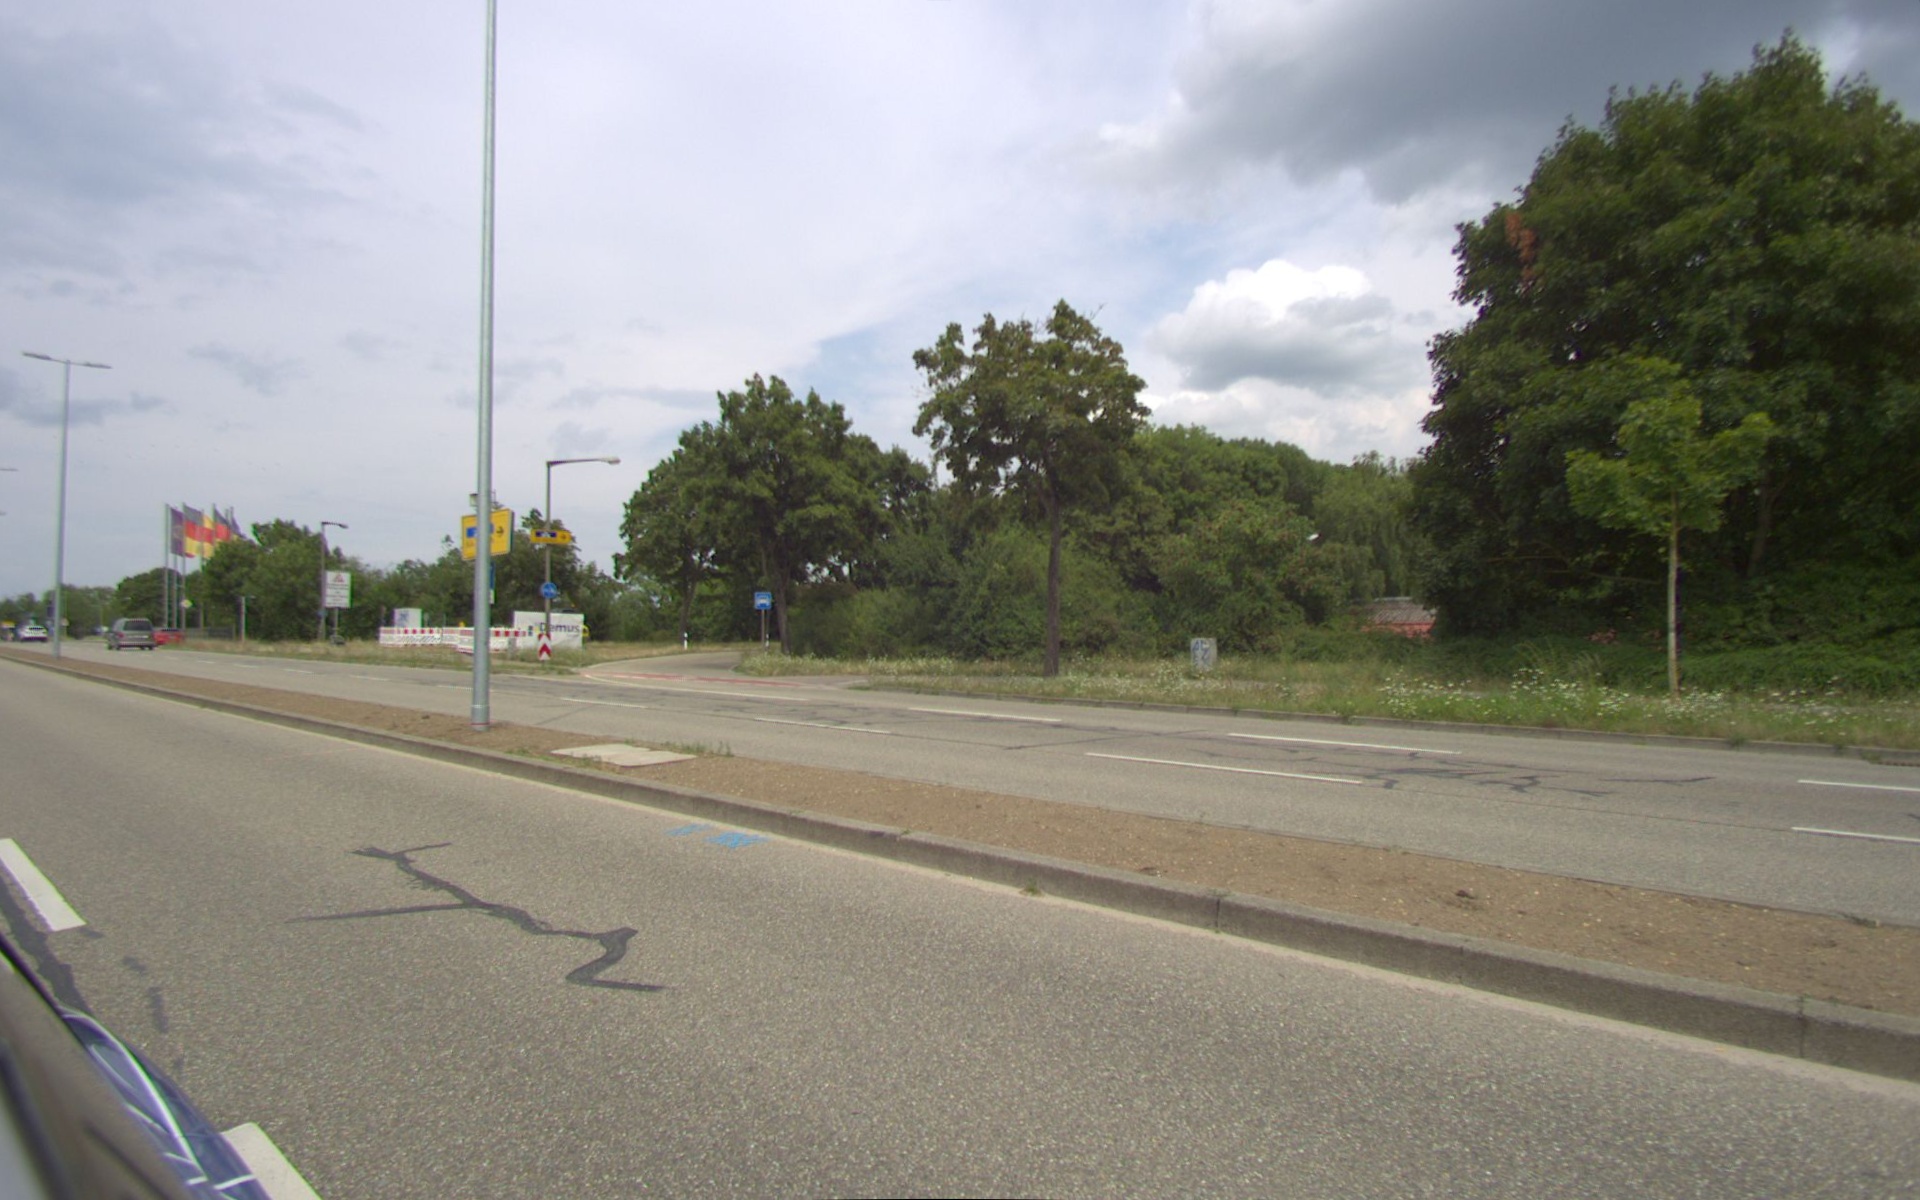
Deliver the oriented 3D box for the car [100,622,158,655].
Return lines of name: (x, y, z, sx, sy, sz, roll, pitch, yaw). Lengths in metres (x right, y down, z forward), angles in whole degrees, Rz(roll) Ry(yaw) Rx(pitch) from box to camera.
car: (-48.718, 2.257, 59.290, 4.537, 1.823, 1.883, -3, -3, 41)

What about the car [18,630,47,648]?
car: (-88.952, 3.740, 97.067, 4.383, 1.641, 1.676, -3, -3, 42)

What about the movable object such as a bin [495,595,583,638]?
movable object such as a bin: (-24.879, 0.995, 59.971, 1.993, 2.415, 4.544, -3, -2, 31)

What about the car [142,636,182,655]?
car: (-59.015, 3.383, 74.793, 4.346, 1.332, 1.735, -3, -3, 43)

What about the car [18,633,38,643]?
car: (-135.508, 5.500, 147.181, 1.970, 1.384, 4.580, 3, -3, -44)
